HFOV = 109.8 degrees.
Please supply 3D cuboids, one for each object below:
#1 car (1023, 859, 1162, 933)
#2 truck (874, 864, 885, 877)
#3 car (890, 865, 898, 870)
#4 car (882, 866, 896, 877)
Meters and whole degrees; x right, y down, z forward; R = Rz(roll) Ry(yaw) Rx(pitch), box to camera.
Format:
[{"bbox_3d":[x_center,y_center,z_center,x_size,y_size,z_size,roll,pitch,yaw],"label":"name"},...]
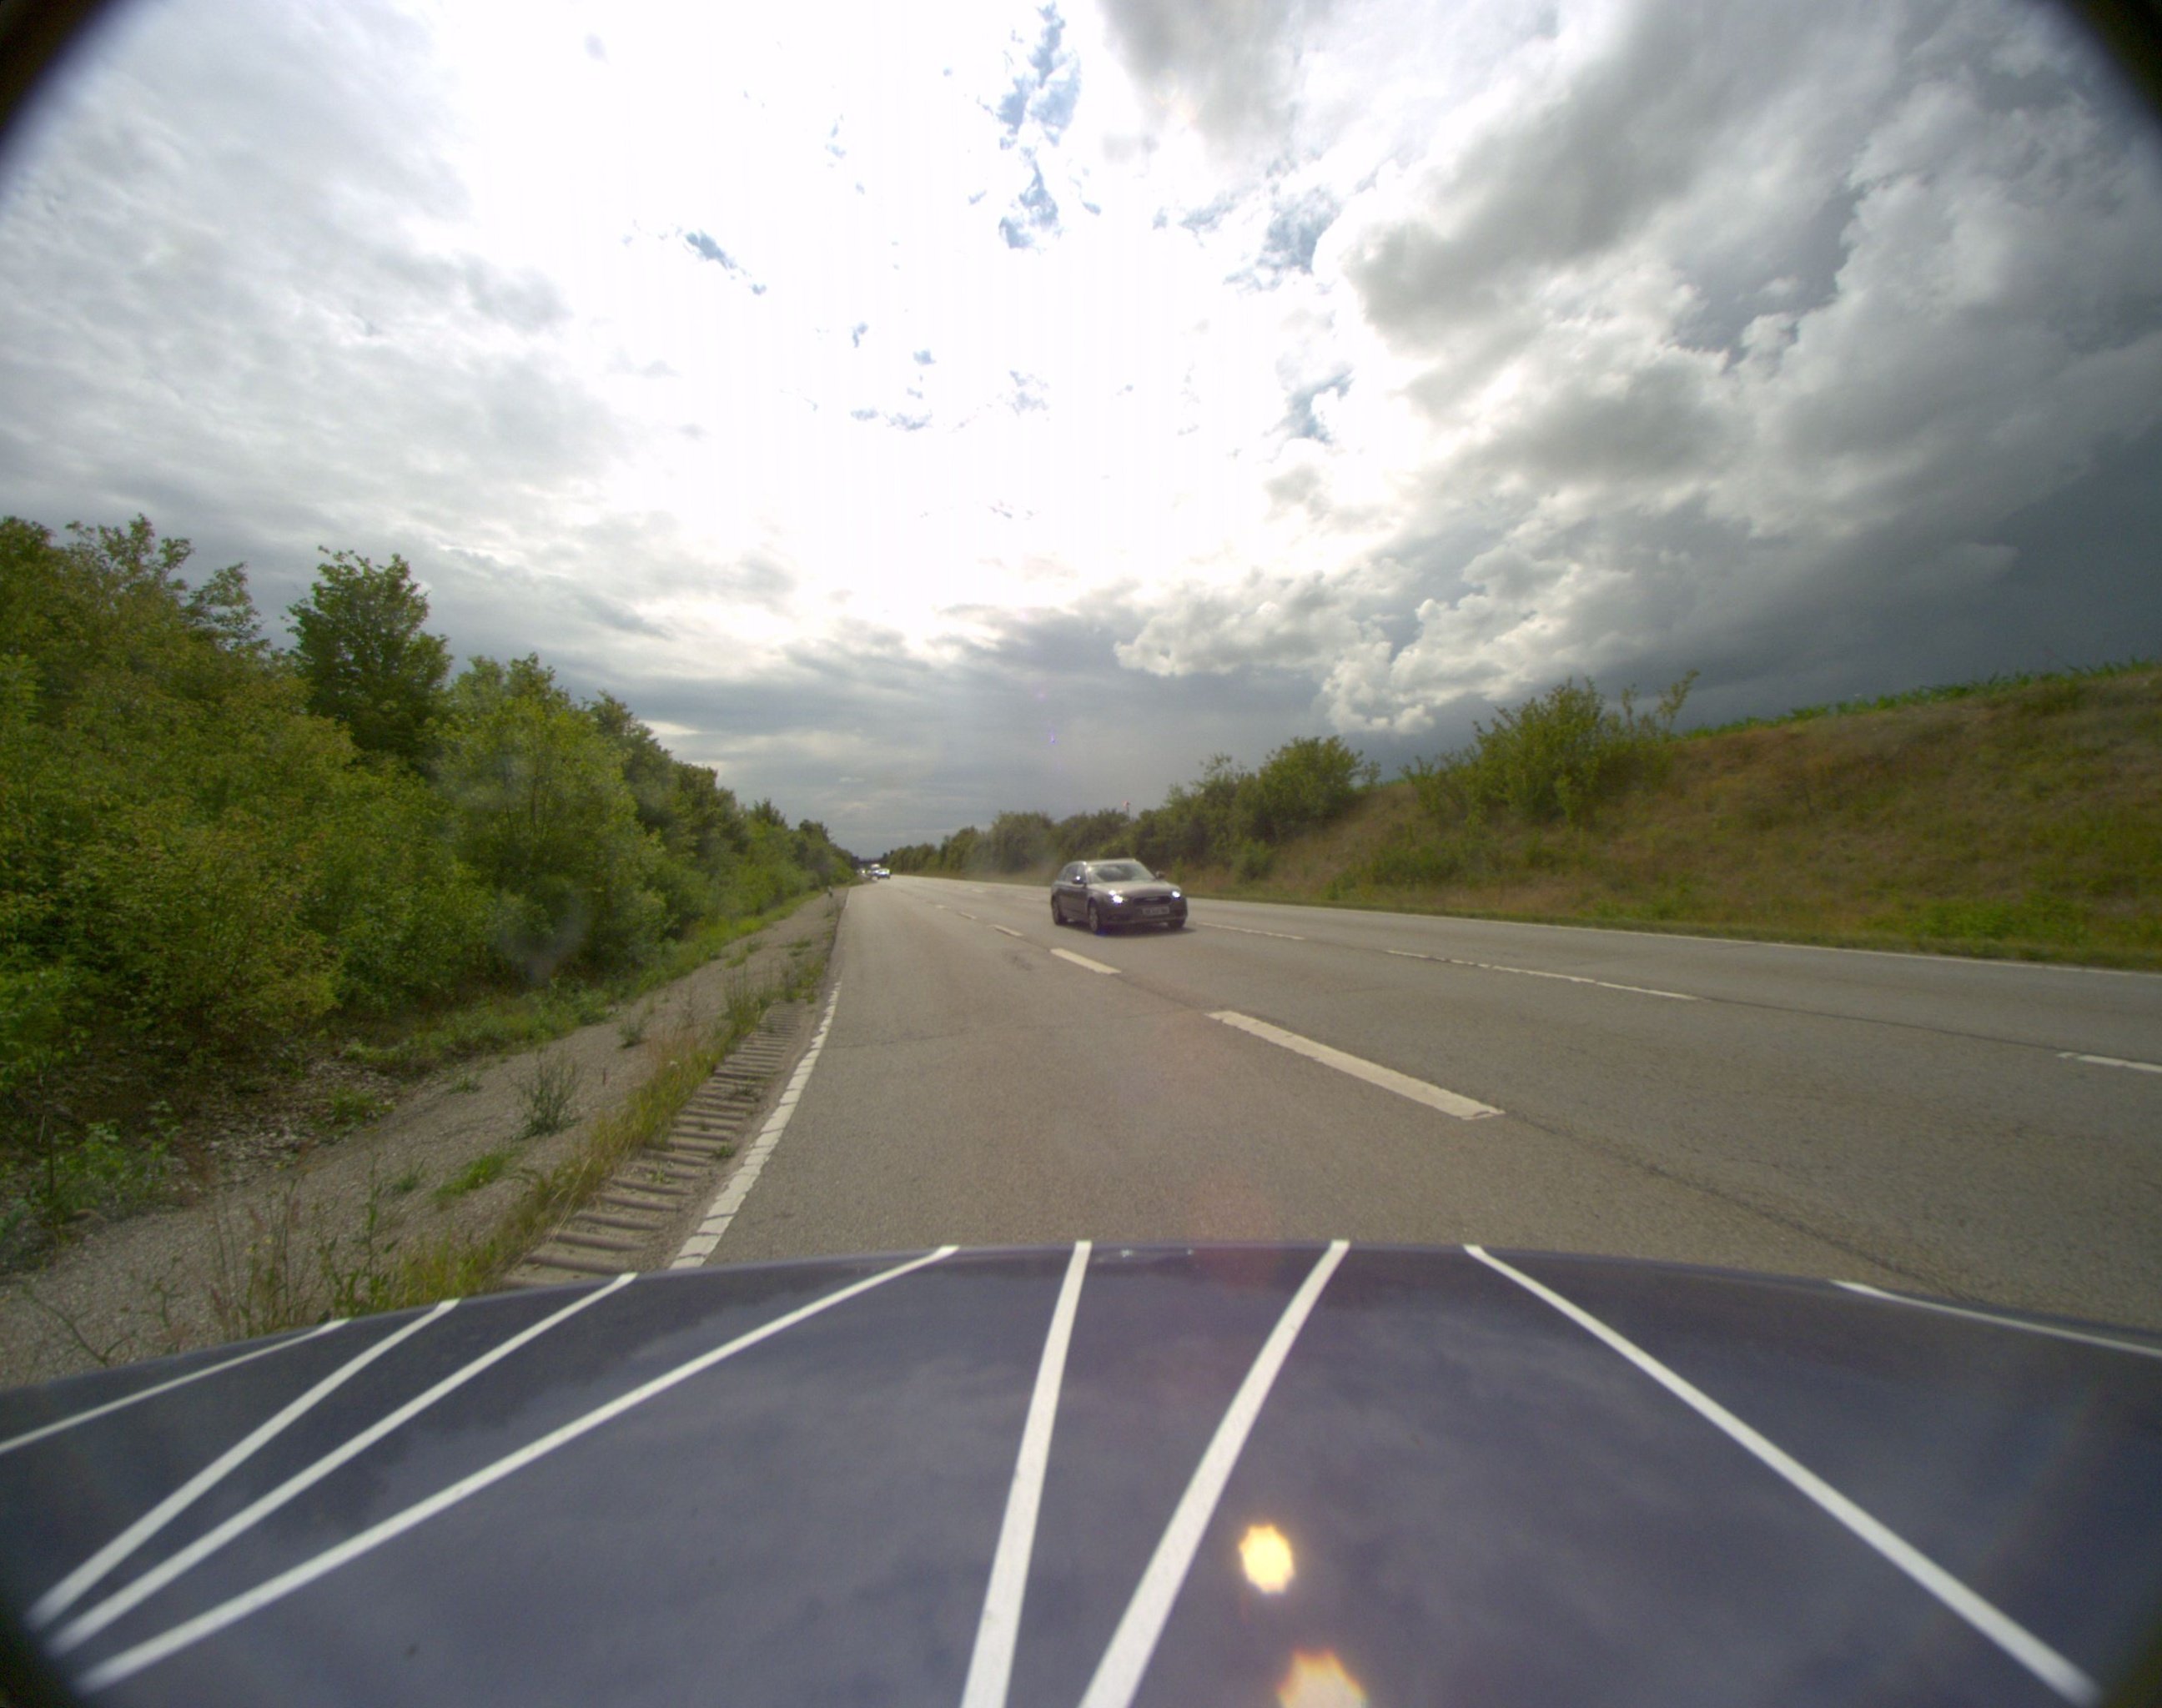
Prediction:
[{"bbox_3d":[0.108,0.919,18.521,2.001,1.436,4.635,-4,0,-17],"label":"car"},{"bbox_3d":[-42.654,3.541,160.592,1.804,2.518,6.677,-4,0,-17],"label":"truck"},{"bbox_3d":[-48.932,3.497,199.016,1.707,1.322,3.994,-2,0,-17],"label":"car"},{"bbox_3d":[-30.730,2.780,121.756,1.873,1.597,3.995,-3,0,-17],"label":"car"}]
